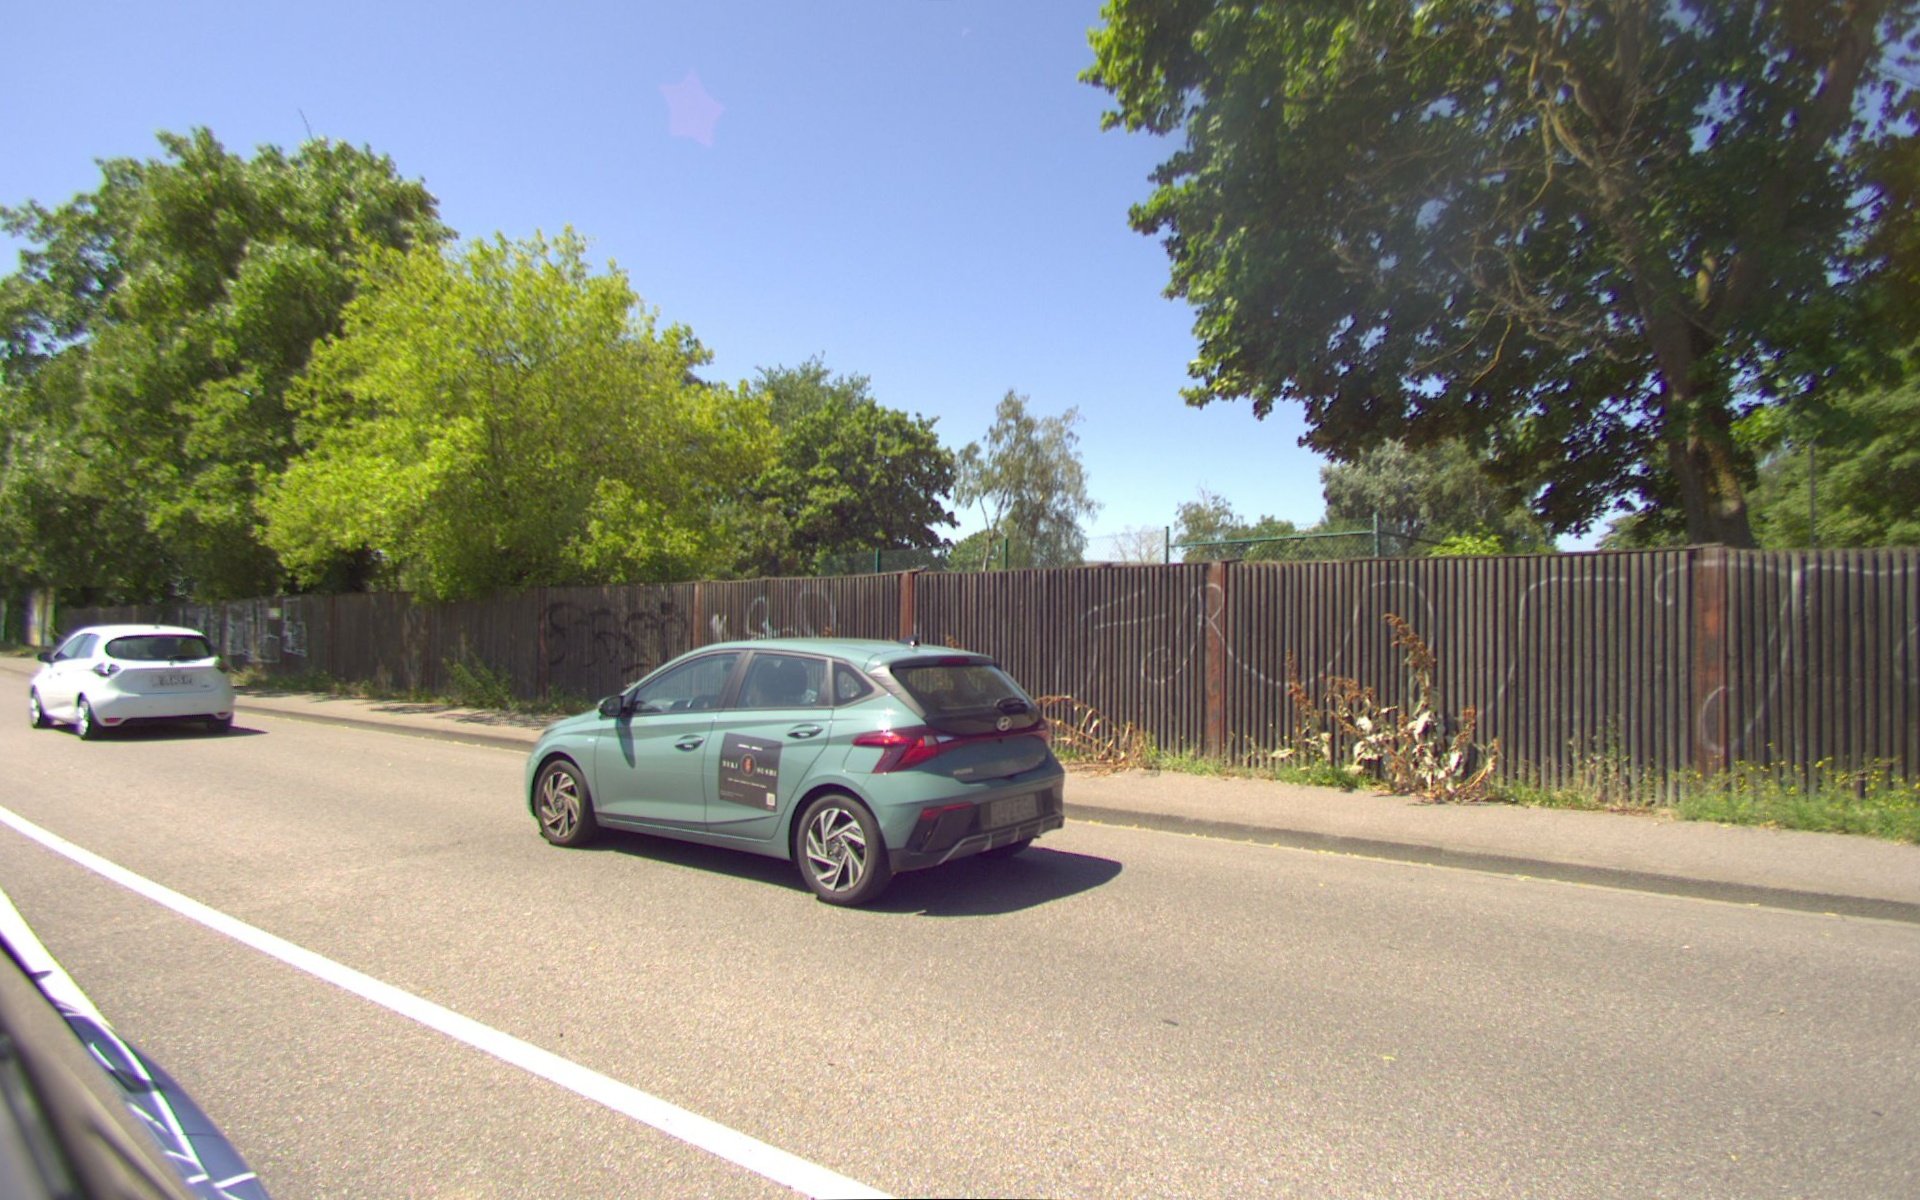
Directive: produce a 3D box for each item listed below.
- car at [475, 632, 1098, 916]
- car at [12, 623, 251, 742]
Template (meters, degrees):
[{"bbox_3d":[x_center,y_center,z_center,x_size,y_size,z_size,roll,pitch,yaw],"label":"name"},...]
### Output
[{"bbox_3d":[-1.370,0.921,6.987,4.322,1.382,1.731,-1,-2,36],"label":"car"},{"bbox_3d":[-12.218,1.114,14.875,3.864,1.539,1.760,-1,-2,36],"label":"car"}]
